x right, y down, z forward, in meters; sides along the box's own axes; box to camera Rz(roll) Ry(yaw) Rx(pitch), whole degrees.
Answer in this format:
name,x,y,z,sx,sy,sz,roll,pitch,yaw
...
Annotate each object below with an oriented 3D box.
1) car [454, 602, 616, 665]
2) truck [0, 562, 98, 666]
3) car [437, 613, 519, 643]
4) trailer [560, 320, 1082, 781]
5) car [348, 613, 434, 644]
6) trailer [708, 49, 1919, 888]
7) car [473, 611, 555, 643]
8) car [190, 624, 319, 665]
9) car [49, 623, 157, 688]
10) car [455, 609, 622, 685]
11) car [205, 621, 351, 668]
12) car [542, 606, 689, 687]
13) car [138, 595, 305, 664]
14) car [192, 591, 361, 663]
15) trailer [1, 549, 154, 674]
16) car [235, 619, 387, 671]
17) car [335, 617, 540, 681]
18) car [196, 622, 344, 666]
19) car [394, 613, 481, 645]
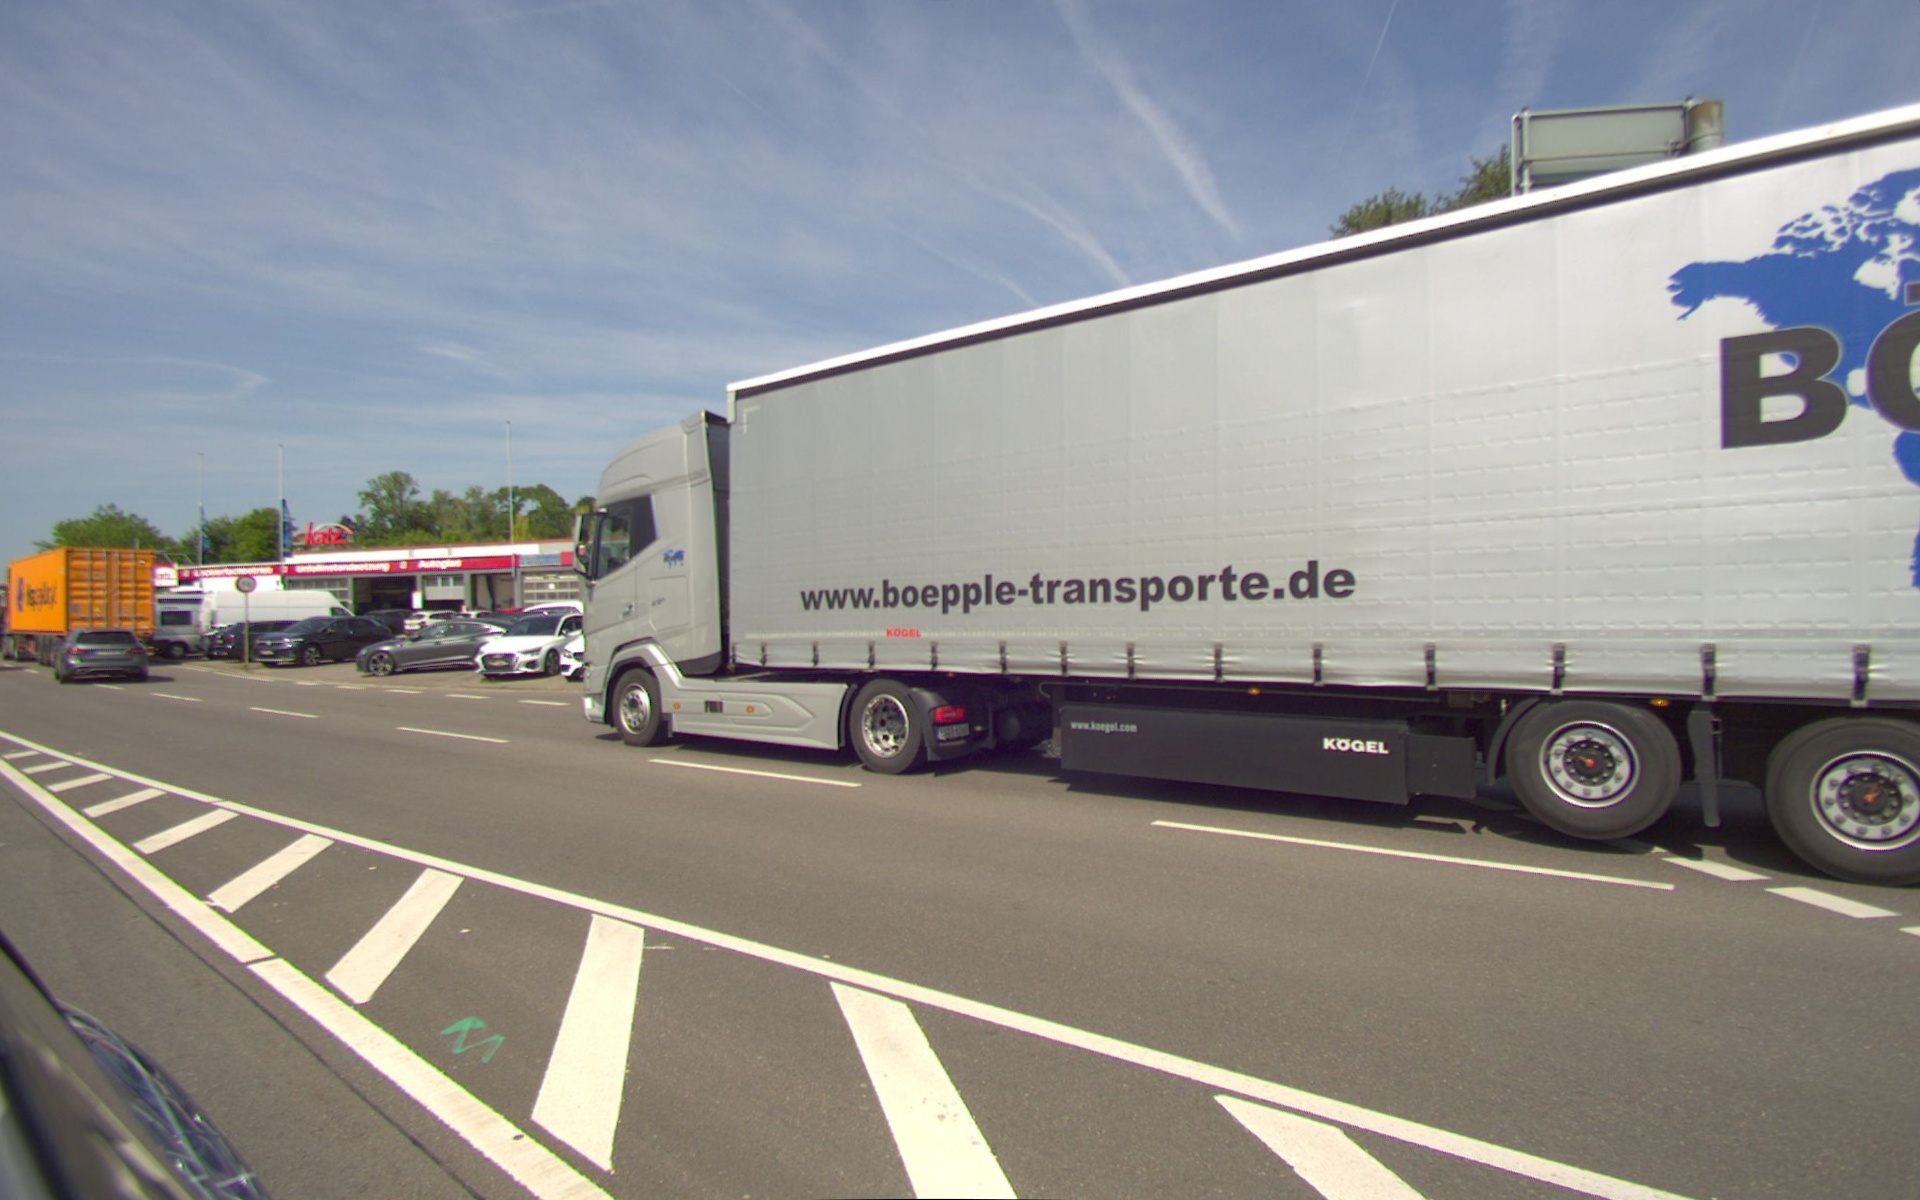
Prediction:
name,x,y,z,sx,sy,sz,roll,pitch,yaw
car,-13.695,1.057,32.820,4.404,1.762,1.894,-2,0,-2
truck,-38.450,0.594,42.460,6.055,4.028,2.692,-1,-1,42
car,-26.444,1.525,55.646,1.869,1.531,3.920,-1,0,19
trailer,-1.893,-0.393,12.041,6.173,4.136,2.620,-1,-1,39
car,-32.211,1.612,57.415,1.864,1.631,3.969,-1,0,23
trailer,3.510,-0.607,7.755,13.861,4.179,2.666,-1,-1,38
car,-24.096,1.431,54.854,1.903,1.630,3.975,-1,0,19
car,-28.212,1.746,40.540,1.881,1.481,3.944,-2,-1,43
car,-23.277,1.477,27.431,1.899,1.614,4.591,2,-3,-44
car,-10.735,1.141,26.218,1.870,1.486,4.707,-2,2,7
car,-24.544,1.554,36.495,2.030,1.542,3.993,-1,-1,41
car,-8.362,1.060,25.063,1.928,1.524,4.716,-2,2,1
car,-31.760,1.225,43.654,2.177,2.794,5.506,-2,-1,42
car,-29.054,1.127,43.182,2.116,2.860,5.646,-3,-2,42
trailer,-33.074,0.494,37.652,12.228,4.028,2.692,-1,-1,41
car,-21.973,1.484,34.469,2.010,1.635,4.165,-1,-1,13
car,-14.267,1.305,27.852,4.570,1.447,1.977,-2,0,-5
car,-26.367,1.645,38.770,2.028,1.542,4.323,-1,-1,40
car,-29.137,1.601,56.557,1.977,1.619,3.966,-1,0,25
